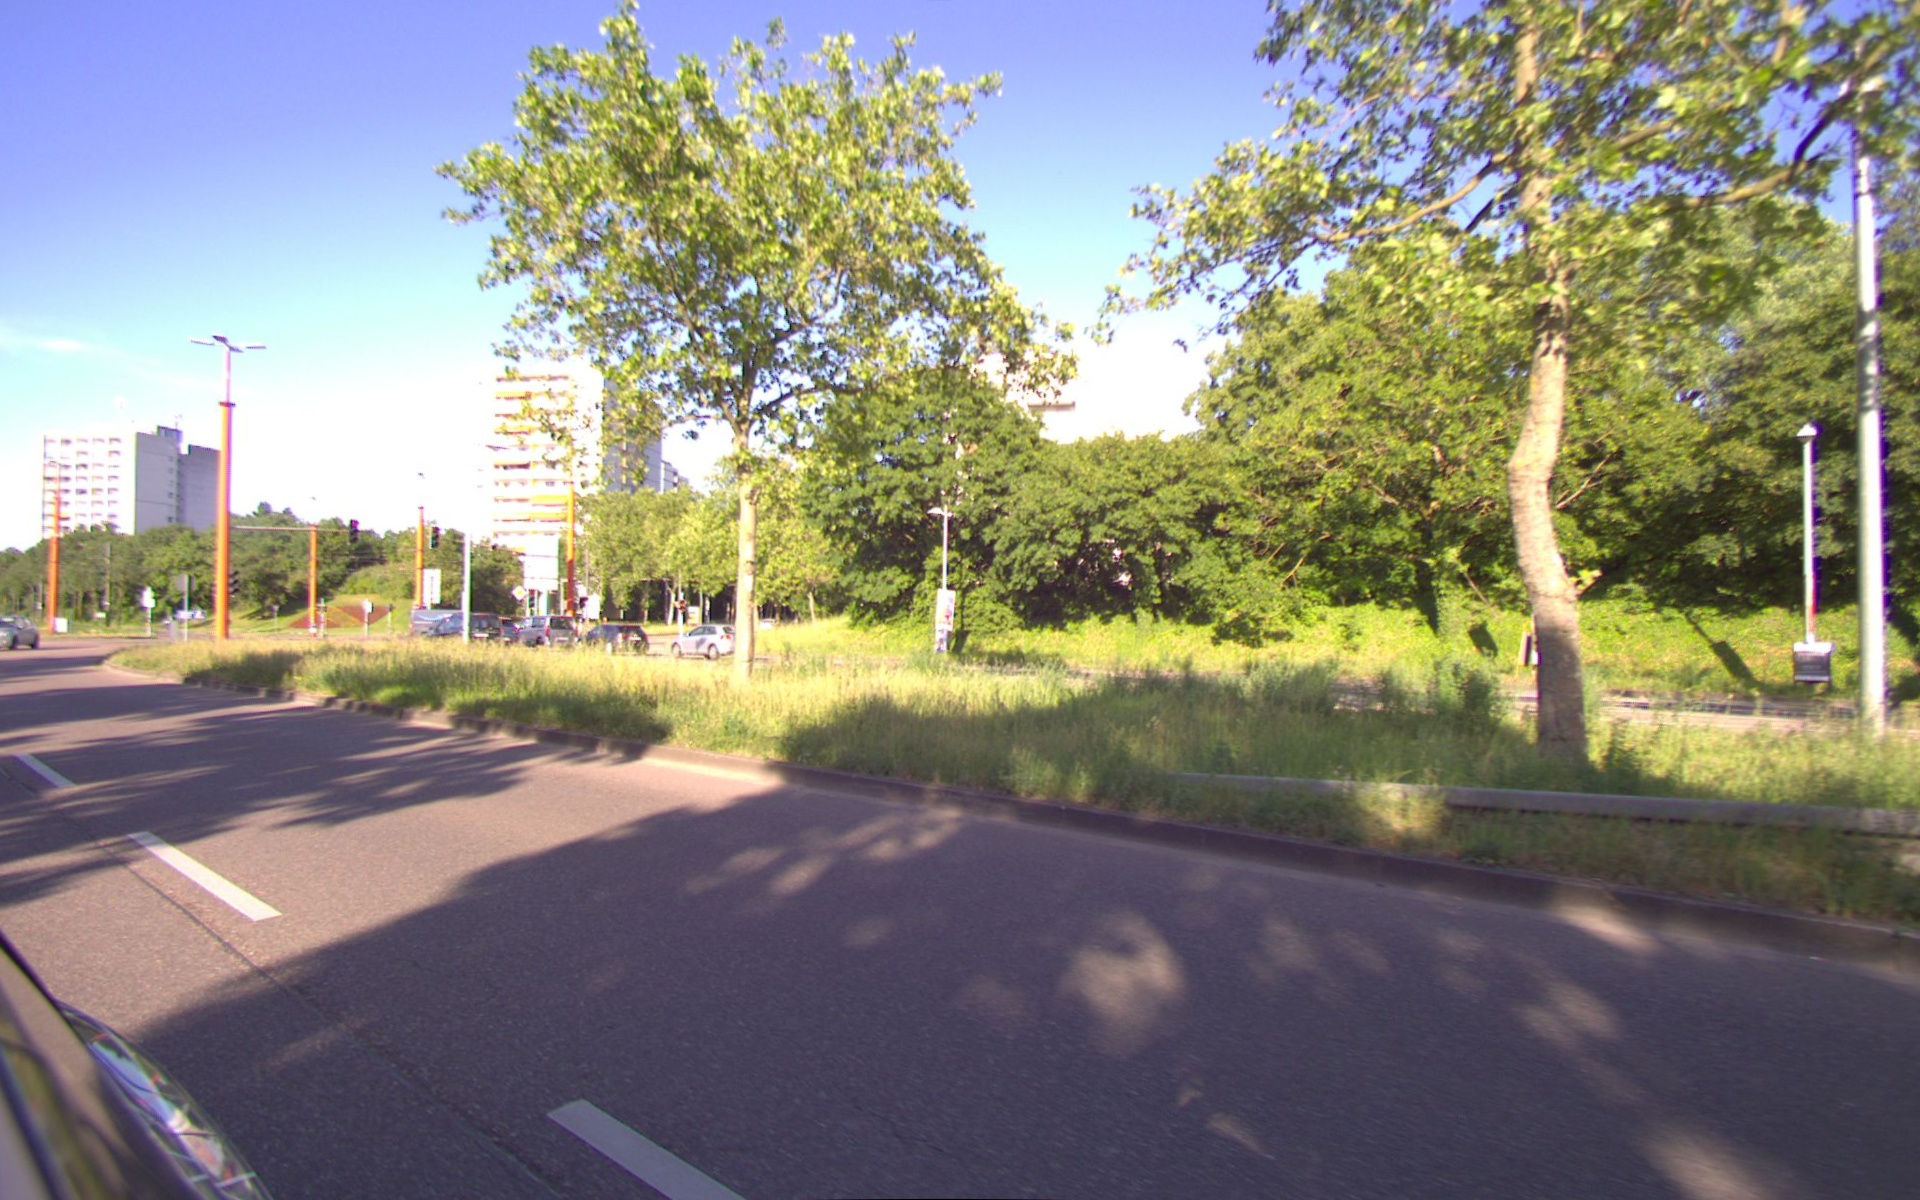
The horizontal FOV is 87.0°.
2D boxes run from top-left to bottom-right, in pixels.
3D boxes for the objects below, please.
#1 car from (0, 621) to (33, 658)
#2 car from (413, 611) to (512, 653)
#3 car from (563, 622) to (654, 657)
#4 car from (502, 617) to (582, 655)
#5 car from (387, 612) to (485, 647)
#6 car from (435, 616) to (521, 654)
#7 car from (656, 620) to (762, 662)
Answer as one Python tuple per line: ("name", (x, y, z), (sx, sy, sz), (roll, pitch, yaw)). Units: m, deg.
("car", (-42.838, 1.751, 44.838), (1.883, 1.570, 4.738), (1, -2, -34))
("car", (-20.013, 1.311, 40.638), (4.563, 1.577, 1.878), (-1, -4, 41))
("car", (-15.989, 1.781, 45.946), (4.563, 1.486, 1.878), (-1, -4, 41))
("car", (-20.816, 1.806, 50.337), (4.444, 1.789, 1.878), (-1, -4, 41))
("car", (-35.184, 1.970, 68.067), (5.565, 2.221, 2.047), (0, -1, -16))
("car", (-22.262, 1.622, 46.689), (4.563, 1.623, 1.878), (-1, -4, 41))
("car", (-10.278, 1.677, 41.290), (4.563, 1.623, 1.878), (-1, -4, 41))
